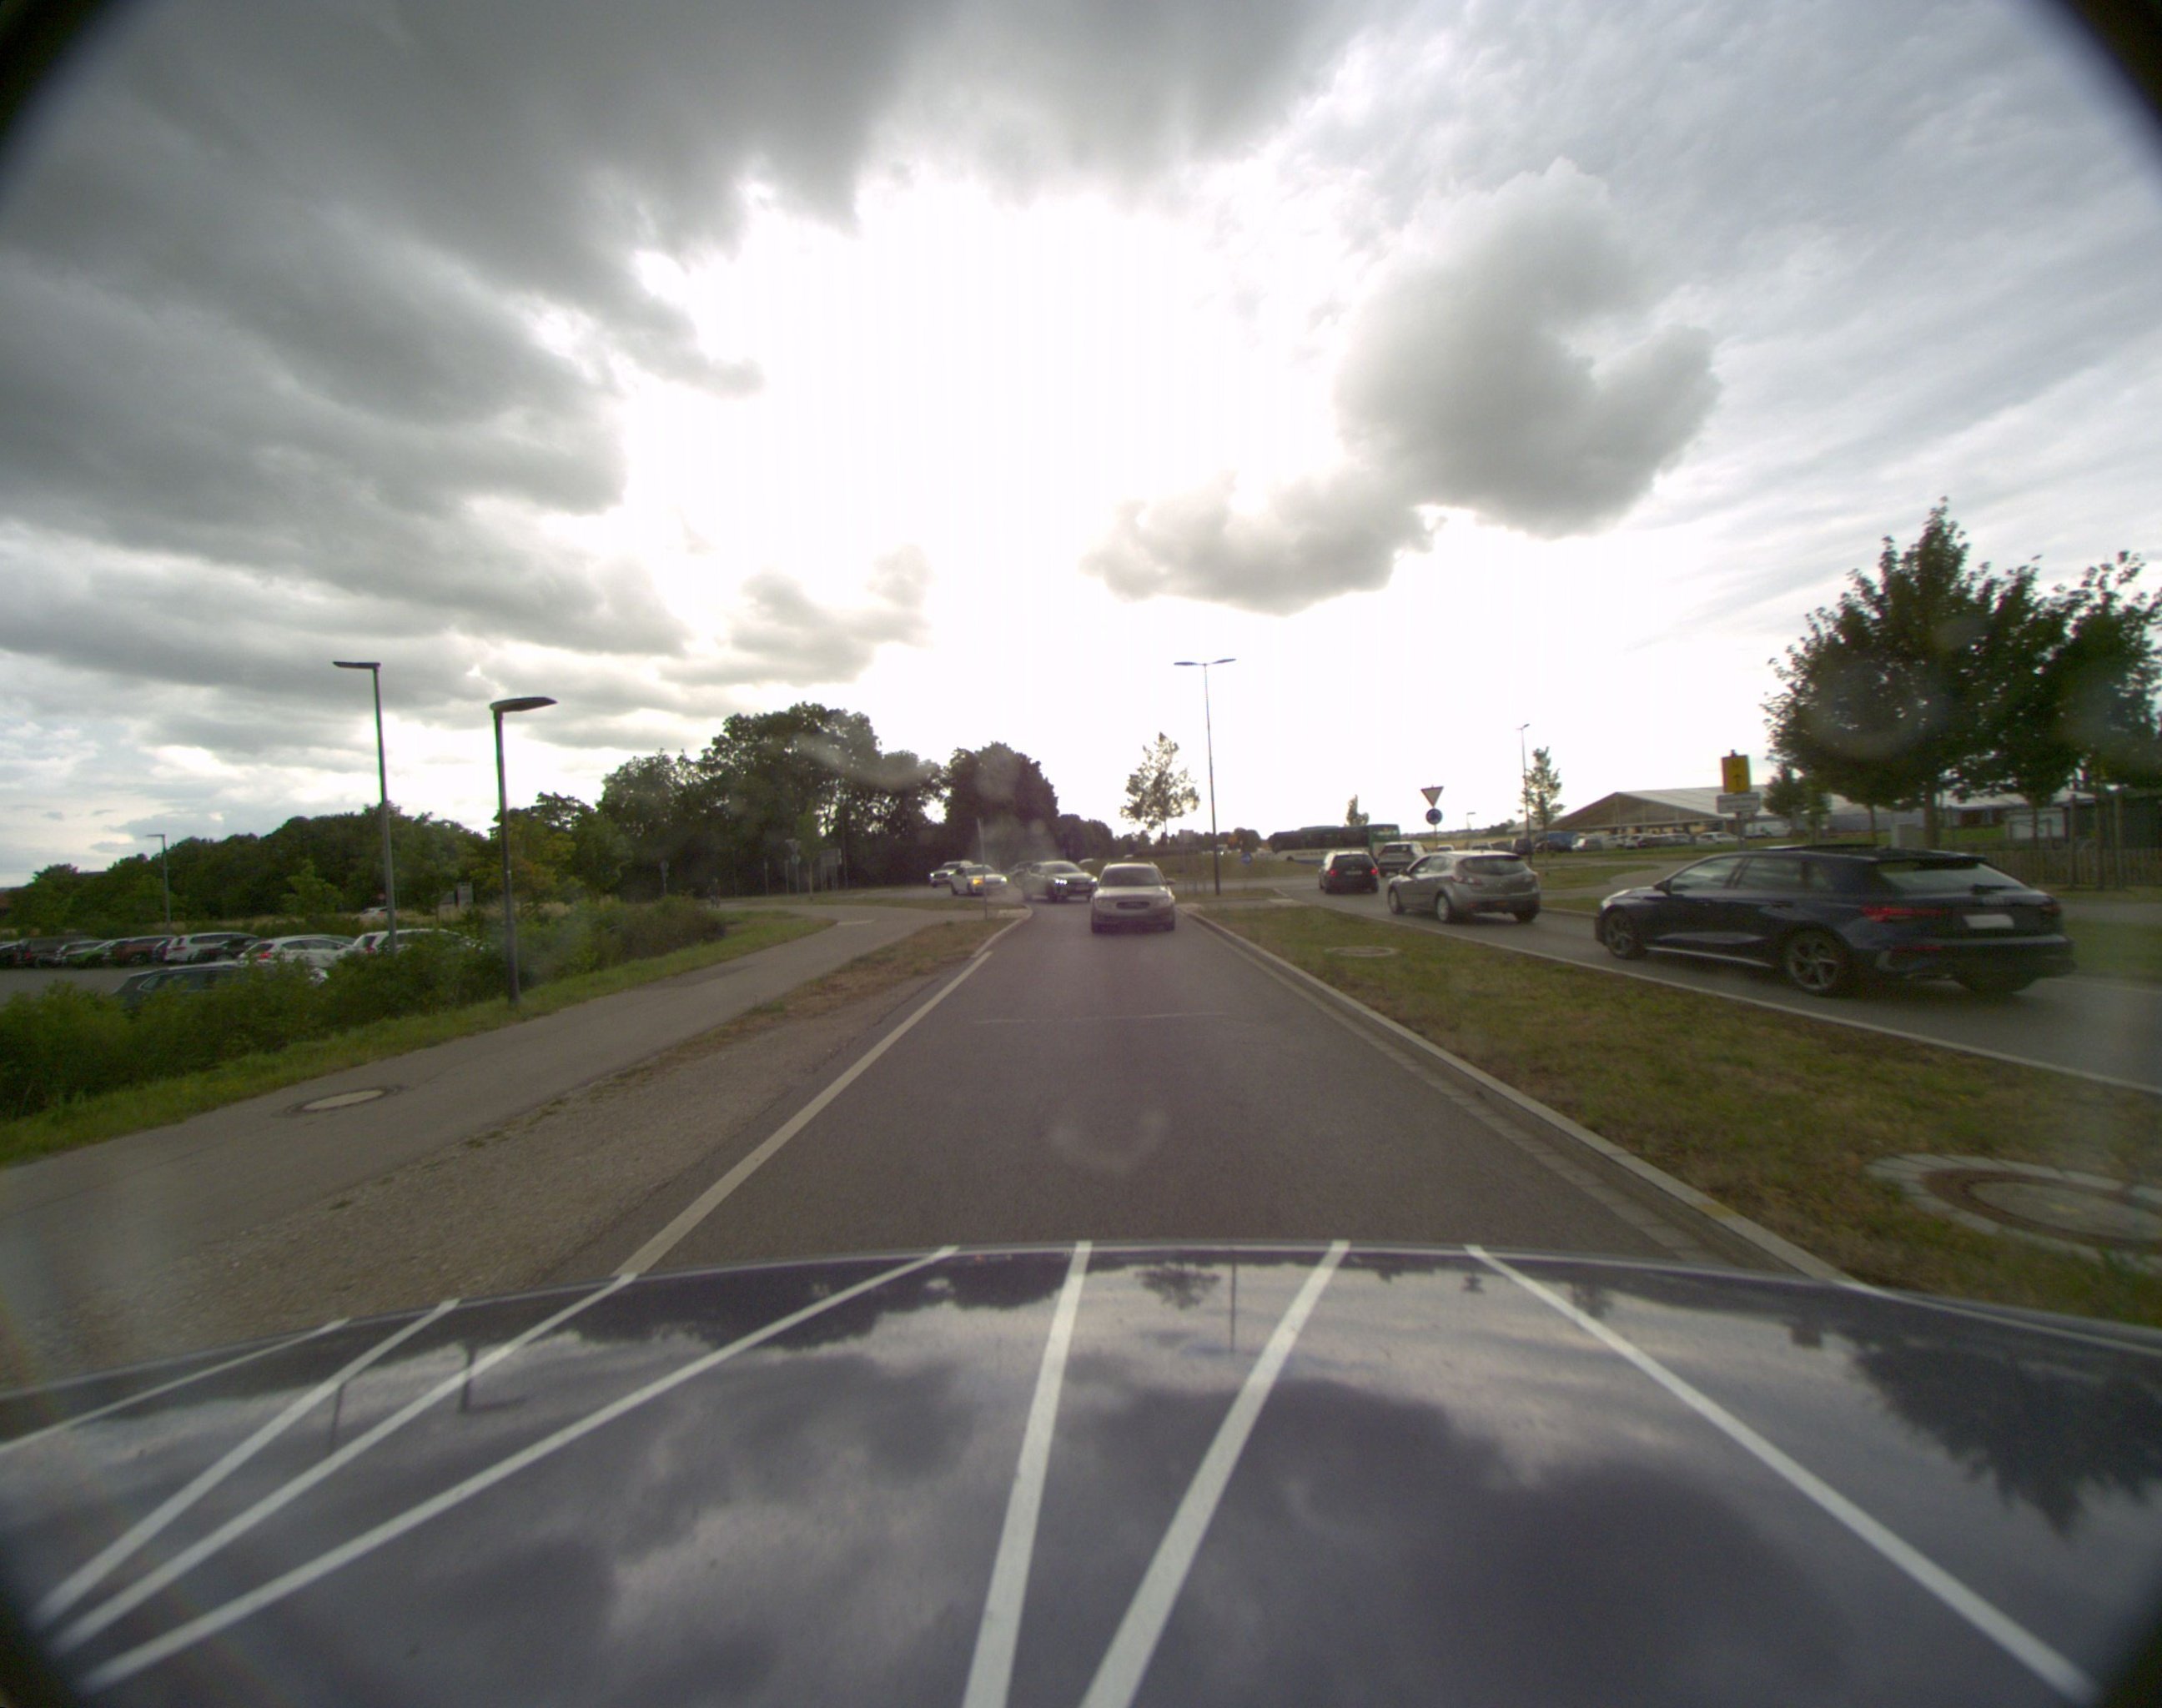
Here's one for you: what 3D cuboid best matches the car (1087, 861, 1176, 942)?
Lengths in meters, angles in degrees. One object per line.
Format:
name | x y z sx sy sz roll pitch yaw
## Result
car | 1.127 0.953 16.912 1.700 1.457 4.001 -2 1 4

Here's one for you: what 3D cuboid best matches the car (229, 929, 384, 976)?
car | -31.546 3.968 31.089 1.840 1.352 4.006 -2 0 20

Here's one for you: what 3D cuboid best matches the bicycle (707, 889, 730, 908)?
bicycle | -19.045 2.320 39.890 1.297 0.956 0.569 -2 0 41

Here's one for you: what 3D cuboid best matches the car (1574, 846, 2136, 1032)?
car | 7.770 0.707 8.425 1.830 1.480 4.350 -2 0 1

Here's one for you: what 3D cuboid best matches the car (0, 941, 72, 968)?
car | -69.036 6.567 49.314 1.697 1.352 4.007 -2 0 28

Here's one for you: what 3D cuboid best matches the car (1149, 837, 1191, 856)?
car | 8.305 -0.675 70.560 1.994 1.674 4.008 -2 0 38

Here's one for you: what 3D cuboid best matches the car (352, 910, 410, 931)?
car | -64.550 6.103 70.126 4.066 1.761 2.002 -2 0 15

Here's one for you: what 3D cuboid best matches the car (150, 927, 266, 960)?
car | -49.347 5.028 43.022 1.697 1.352 4.007 -2 0 28

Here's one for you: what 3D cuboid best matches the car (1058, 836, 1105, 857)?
car | 0.108 -0.723 70.850 1.995 1.793 4.781 -2 0 33

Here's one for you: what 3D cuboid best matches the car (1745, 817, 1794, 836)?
car | 82.425 -3.296 91.025 4.568 2.002 1.998 -2 0 -11

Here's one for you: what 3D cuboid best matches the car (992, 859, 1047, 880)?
car | -4.779 1.188 59.373 3.777 1.510 1.995 -2 0 -35

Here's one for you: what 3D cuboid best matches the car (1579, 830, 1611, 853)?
car | 47.029 -1.110 69.599 1.995 2.002 4.007 -2 0 29

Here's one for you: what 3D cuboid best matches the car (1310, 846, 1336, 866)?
car | 24.996 0.188 78.447 1.995 2.002 4.007 -2 0 26

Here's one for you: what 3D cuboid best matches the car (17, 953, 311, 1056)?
car | -18.886 3.077 15.782 3.997 1.696 1.657 -2 0 0

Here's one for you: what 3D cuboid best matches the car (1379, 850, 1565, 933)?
car | 8.071 0.698 16.187 1.830 1.480 4.216 -2 0 1

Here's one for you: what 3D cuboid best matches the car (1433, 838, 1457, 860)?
car | 35.022 -0.475 73.160 1.995 2.002 4.007 -2 0 26

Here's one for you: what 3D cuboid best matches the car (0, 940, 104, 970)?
car | -65.820 6.416 48.507 1.697 1.352 4.007 -2 0 28

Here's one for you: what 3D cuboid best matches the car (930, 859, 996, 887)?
car | -7.797 1.224 50.190 4.003 1.674 1.997 -2 0 -19

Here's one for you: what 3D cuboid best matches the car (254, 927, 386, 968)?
car | -35.496 4.317 35.564 1.697 1.352 4.007 -2 0 28

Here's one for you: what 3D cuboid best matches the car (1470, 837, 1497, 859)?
car | 37.759 -0.562 71.302 1.995 2.002 4.007 -2 0 26

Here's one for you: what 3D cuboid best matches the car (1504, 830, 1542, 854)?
car | 40.511 -1.081 69.725 1.996 2.002 4.005 -2 0 16

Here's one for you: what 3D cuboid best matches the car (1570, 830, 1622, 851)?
car | 52.530 -1.376 77.525 3.999 2.002 1.999 -2 0 -8

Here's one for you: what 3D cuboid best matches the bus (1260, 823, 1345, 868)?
bus | 17.074 -0.623 59.189 2.996 3.261 6.692 -2 0 -18

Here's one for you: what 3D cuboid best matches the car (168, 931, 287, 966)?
car | -46.532 5.122 41.500 1.697 1.352 4.007 -2 0 28

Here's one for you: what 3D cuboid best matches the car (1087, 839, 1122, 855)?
car | 2.585 -0.757 82.276 1.995 1.674 4.008 -2 0 33

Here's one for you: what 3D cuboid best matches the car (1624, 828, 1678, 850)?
car | 55.029 -1.464 73.404 4.001 2.002 1.998 -2 0 -11

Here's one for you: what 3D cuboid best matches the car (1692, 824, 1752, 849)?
car | 56.964 -1.542 67.576 4.001 2.002 1.998 -2 0 -11

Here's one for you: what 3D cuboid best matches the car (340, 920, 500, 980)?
car | -25.215 3.597 29.159 1.697 1.707 4.250 -2 0 28

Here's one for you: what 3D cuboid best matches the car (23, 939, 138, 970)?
car | -60.875 6.067 46.309 1.697 1.352 4.007 -2 0 28

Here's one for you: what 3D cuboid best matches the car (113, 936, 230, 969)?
car | -52.067 5.603 43.576 1.697 1.352 4.007 -2 0 28

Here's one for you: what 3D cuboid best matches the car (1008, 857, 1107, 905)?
car | -1.043 1.017 29.637 1.873 1.578 5.052 -4 1 -26

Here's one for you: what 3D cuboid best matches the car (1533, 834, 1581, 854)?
car | 50.597 -1.089 80.812 4.001 2.002 1.998 -2 0 -11

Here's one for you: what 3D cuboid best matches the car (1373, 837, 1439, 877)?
car | 15.656 0.121 36.483 1.826 1.712 4.408 -1 2 38

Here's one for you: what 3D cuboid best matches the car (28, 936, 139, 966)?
car | -62.920 6.087 47.997 1.697 1.352 4.007 -2 0 28

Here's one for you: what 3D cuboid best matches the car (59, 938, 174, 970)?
car | -57.910 5.991 45.691 1.697 1.352 4.007 -2 0 28

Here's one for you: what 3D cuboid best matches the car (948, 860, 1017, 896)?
car | -4.901 1.142 37.145 1.874 1.533 4.190 -4 1 -29

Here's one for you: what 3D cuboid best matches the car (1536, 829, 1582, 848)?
car | 53.353 -1.714 84.803 4.001 2.002 1.998 -2 0 -11

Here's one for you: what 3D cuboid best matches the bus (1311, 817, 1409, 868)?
bus | 19.257 -0.710 52.931 2.996 3.261 6.475 -2 0 -18

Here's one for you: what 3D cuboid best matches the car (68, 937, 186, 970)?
car | -55.226 5.719 44.072 1.697 1.352 4.007 -2 0 28

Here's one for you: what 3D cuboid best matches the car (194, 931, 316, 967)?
car | -43.483 4.961 40.089 1.697 1.352 4.007 -2 0 28

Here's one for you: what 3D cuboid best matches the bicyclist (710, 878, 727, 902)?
bicyclist | -19.061 1.906 39.901 0.657 1.236 0.556 -1 0 41

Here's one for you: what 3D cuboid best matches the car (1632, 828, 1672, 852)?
car | 50.335 -1.216 67.053 2.227 2.002 4.007 -2 0 29

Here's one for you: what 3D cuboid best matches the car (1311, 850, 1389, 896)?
car | 9.417 0.621 26.900 1.829 1.480 4.340 -2 0 9
